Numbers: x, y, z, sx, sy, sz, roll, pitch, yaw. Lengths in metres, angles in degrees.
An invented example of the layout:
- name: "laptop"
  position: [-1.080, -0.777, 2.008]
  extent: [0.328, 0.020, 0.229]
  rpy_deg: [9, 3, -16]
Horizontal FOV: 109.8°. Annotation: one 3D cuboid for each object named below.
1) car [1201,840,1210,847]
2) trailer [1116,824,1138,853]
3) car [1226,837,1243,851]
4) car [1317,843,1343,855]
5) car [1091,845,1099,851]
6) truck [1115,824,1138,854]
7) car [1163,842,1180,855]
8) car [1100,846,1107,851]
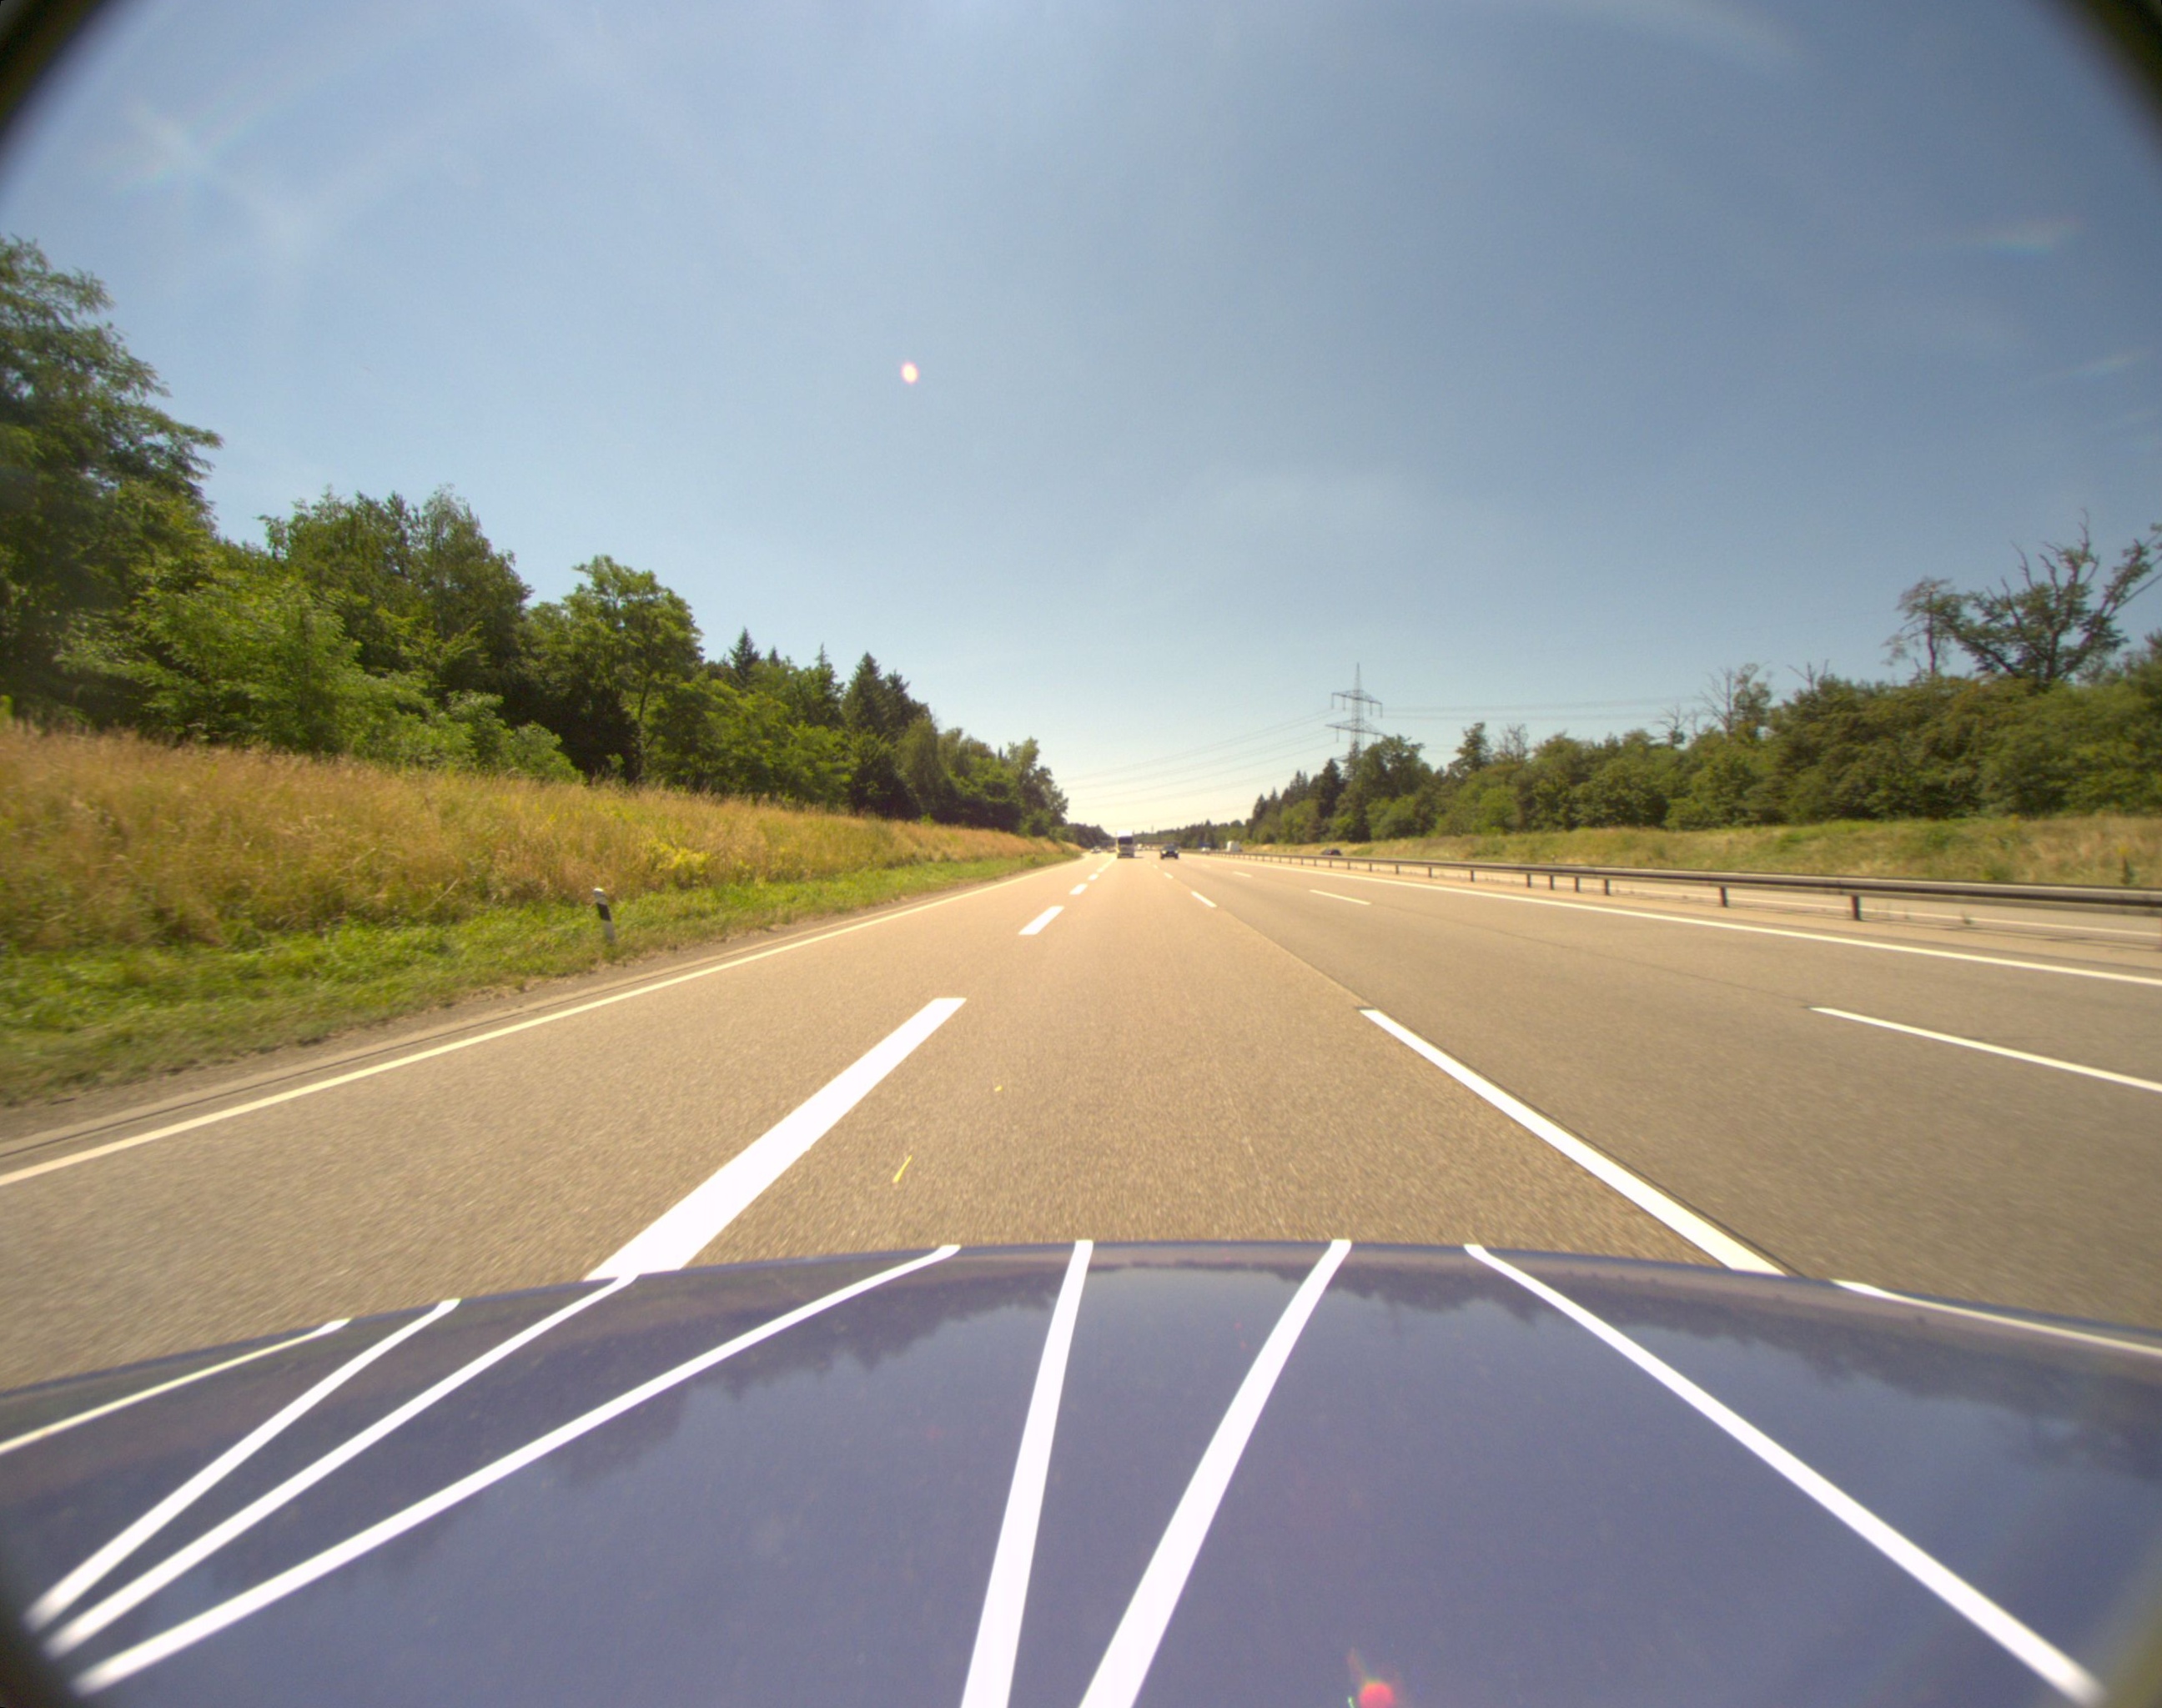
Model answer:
- name: "car"
  position: [29.350, -2.471, 179.443]
  extent: [1.695, 1.383, 4.676]
  rpy_deg: [1, 1, 3]
- name: "trailer"
  position: [6.995, -2.194, 113.841]
  extent: [2.981, 4.118, 11.699]
  rpy_deg: [-1, 0, 5]
- name: "car"
  position: [31.438, -2.091, 156.014]
  extent: [2.348, 2.695, 6.874]
  rpy_deg: [1, 1, 3]
- name: "car"
  position: [31.343, -0.623, 95.789]
  extent: [1.831, 1.501, 4.743]
  rpy_deg: [0, 1, 1]
- name: "car"
  position: [3.943, -1.743, 216.315]
  extent: [1.898, 1.417, 4.262]
  rpy_deg: [-2, 1, 6]
- name: "truck"
  position: [6.505, -2.128, 108.444]
  extent: [2.979, 4.118, 5.350]
  rpy_deg: [-1, 1, 6]
- name: "car"
  position: [10.694, -0.636, 90.374]
  extent: [1.898, 1.417, 4.262]
  rpy_deg: [-2, 1, 6]
- name: "car"
  position: [7.217, -1.733, 242.937]
  extent: [1.898, 1.417, 4.262]
  rpy_deg: [-2, 1, 6]
